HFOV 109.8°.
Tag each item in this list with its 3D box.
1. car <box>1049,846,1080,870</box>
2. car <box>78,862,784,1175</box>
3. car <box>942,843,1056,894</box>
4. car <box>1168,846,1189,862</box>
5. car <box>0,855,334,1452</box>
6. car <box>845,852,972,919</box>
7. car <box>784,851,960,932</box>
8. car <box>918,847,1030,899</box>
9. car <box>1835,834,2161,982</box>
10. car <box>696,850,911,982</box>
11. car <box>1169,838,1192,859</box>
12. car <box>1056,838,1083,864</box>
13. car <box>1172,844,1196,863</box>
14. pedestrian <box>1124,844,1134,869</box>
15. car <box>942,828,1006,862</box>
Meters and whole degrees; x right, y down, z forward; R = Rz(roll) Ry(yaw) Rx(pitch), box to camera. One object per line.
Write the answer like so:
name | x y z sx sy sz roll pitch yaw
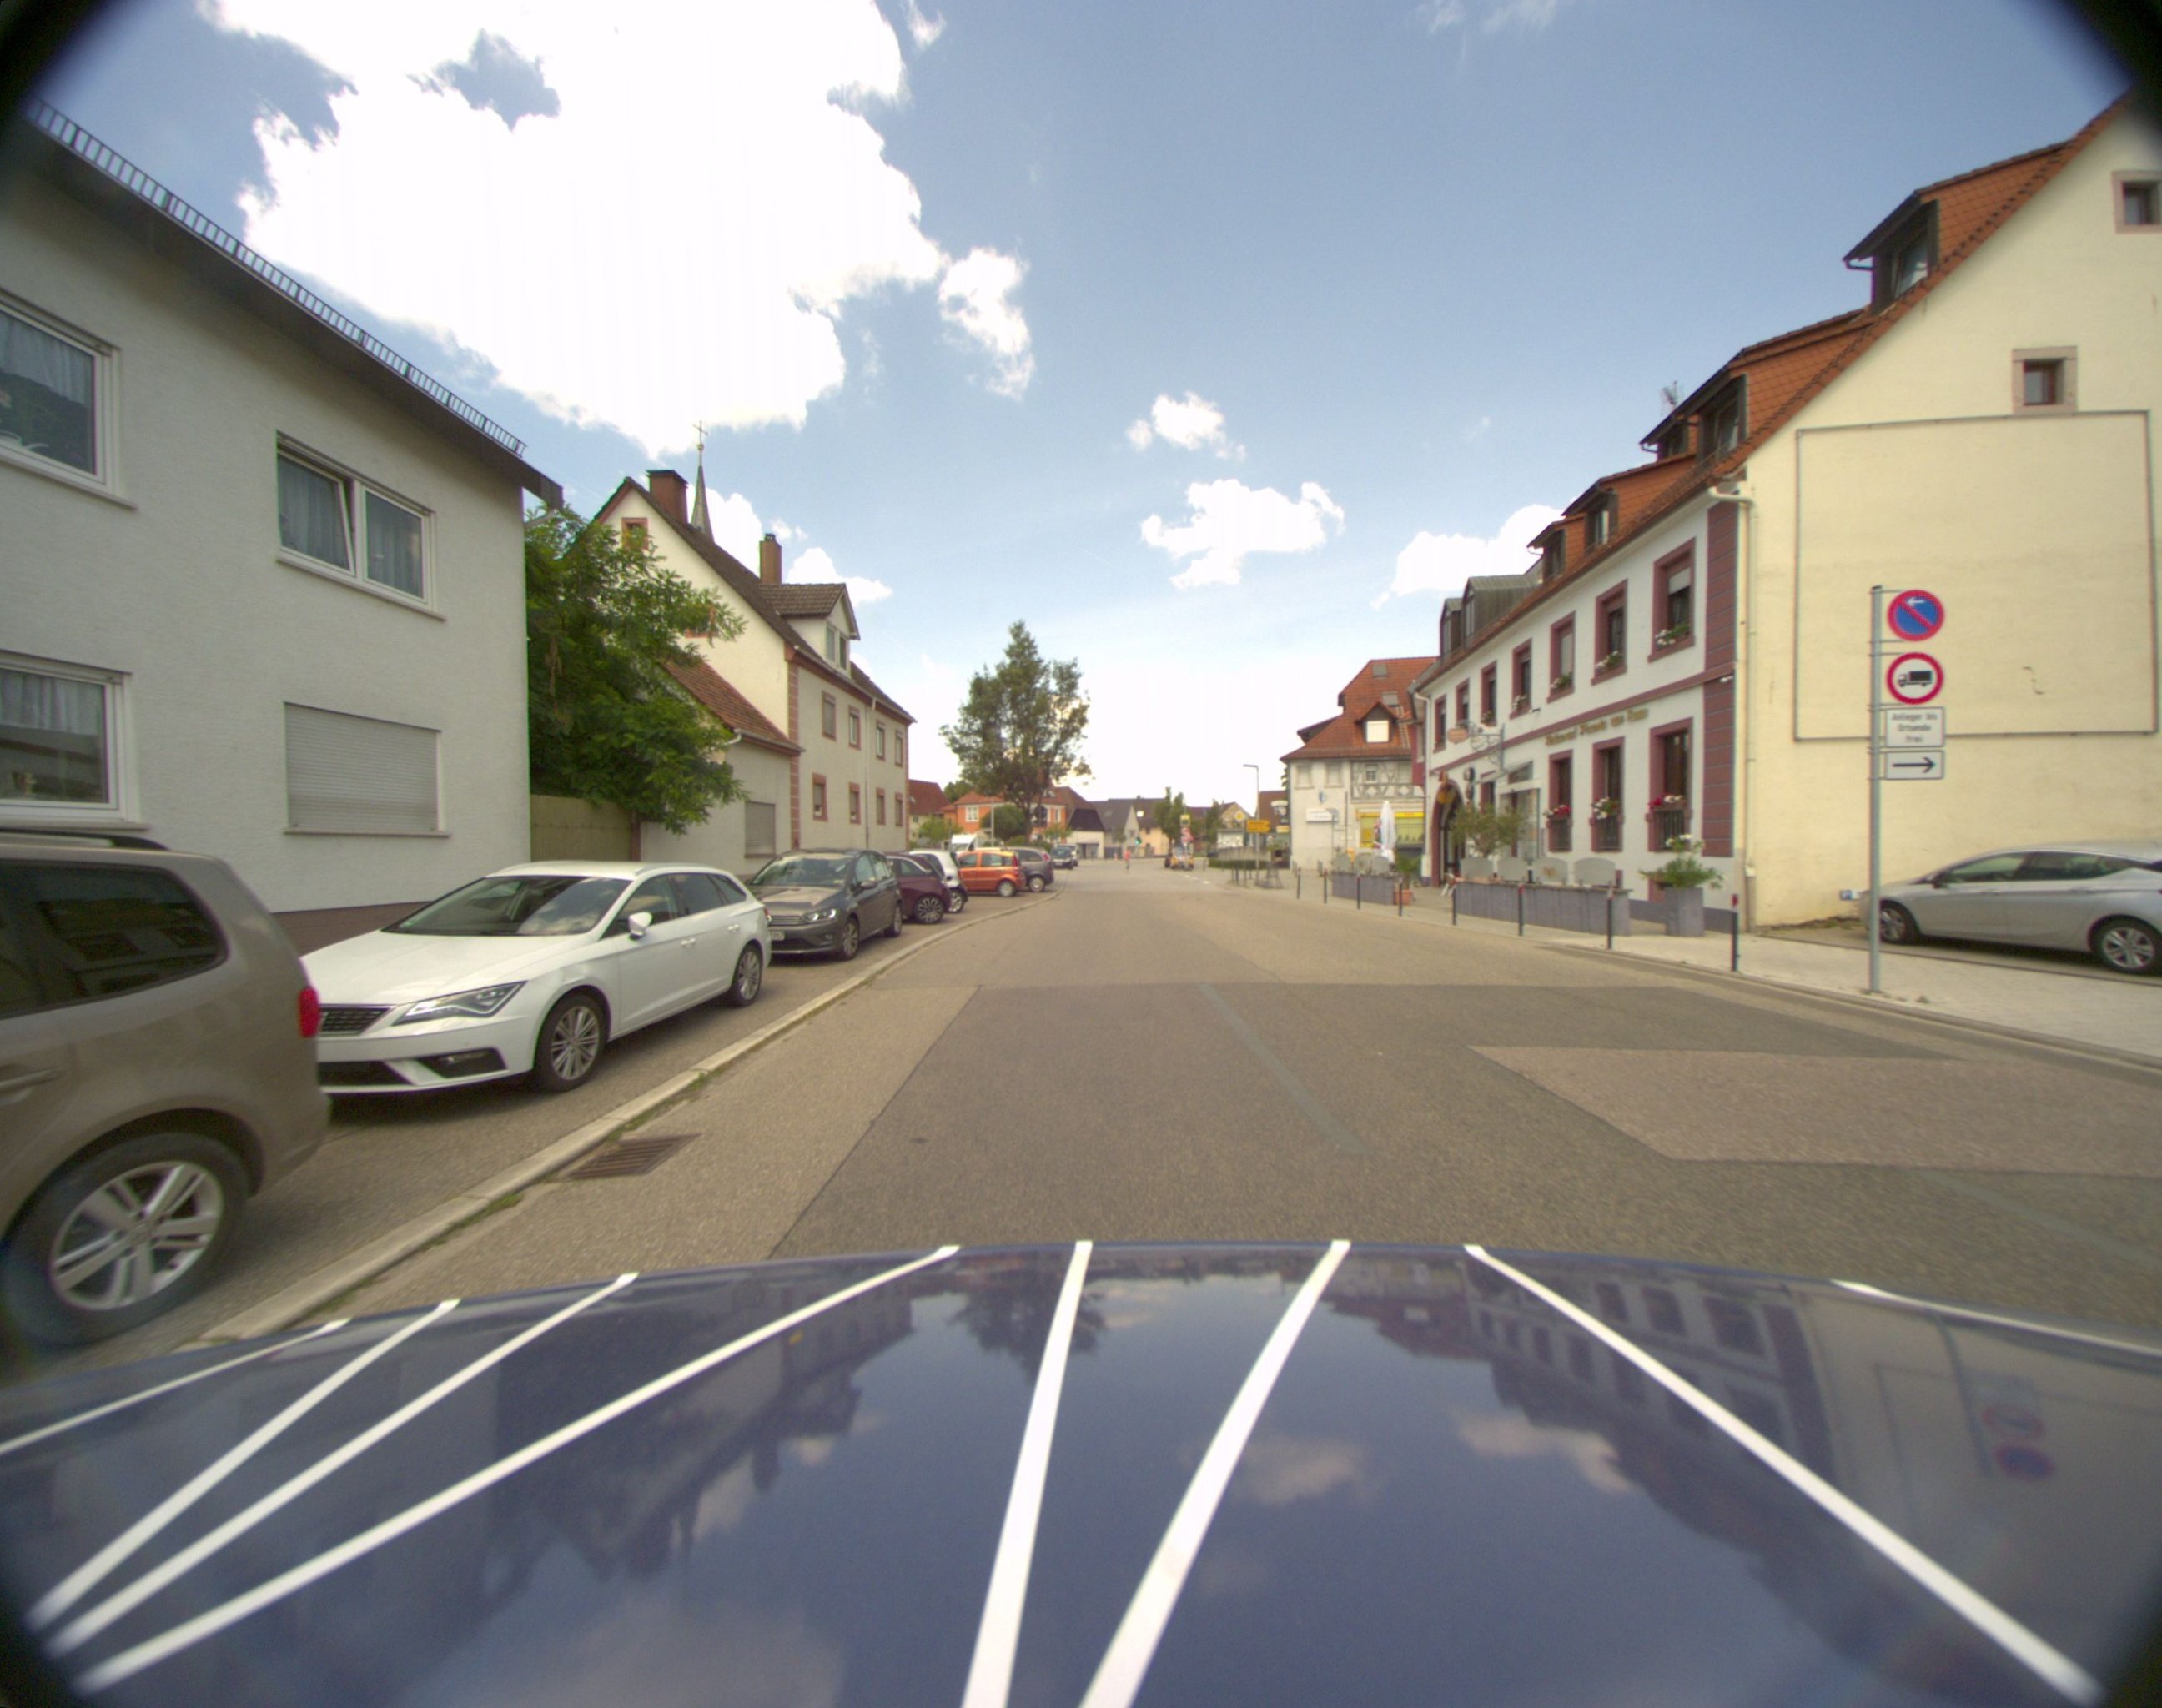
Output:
car | -1.154 0.246 55.361 1.772 1.555 4.419 3 1 4
car | -4.213 0.882 6.137 1.999 1.509 4.370 0 1 -1
car | -2.884 0.498 27.274 3.858 1.569 1.849 2 3 -1
car | 8.614 -0.038 67.026 1.819 1.415 4.539 0 1 8
car | -4.124 0.875 0.940 1.998 1.671 4.323 0 1 3
car | -4.257 0.704 18.558 2.791 1.496 1.874 0 1 -21
car | -4.346 0.730 15.717 3.241 1.496 1.822 1 1 -24
car | -3.456 0.607 24.952 3.385 1.568 1.726 1 1 2
car | 12.455 0.542 9.617 1.762 1.484 4.277 -4 1 5
car | -3.993 0.772 11.749 1.666 1.615 4.271 0 1 1
car | 9.791 -0.554 74.548 1.989 1.979 5.048 0 1 11
car | -0.980 -0.259 67.594 1.947 2.165 5.101 2 1 3
car | 8.145 -0.049 60.408 1.671 1.466 3.964 0 1 5
pedestrian | 3.213 0.168 50.496 0.640 1.620 0.620 0 1 5
car | -9.770 -0.864 69.975 2.755 2.946 7.123 2 2 20
